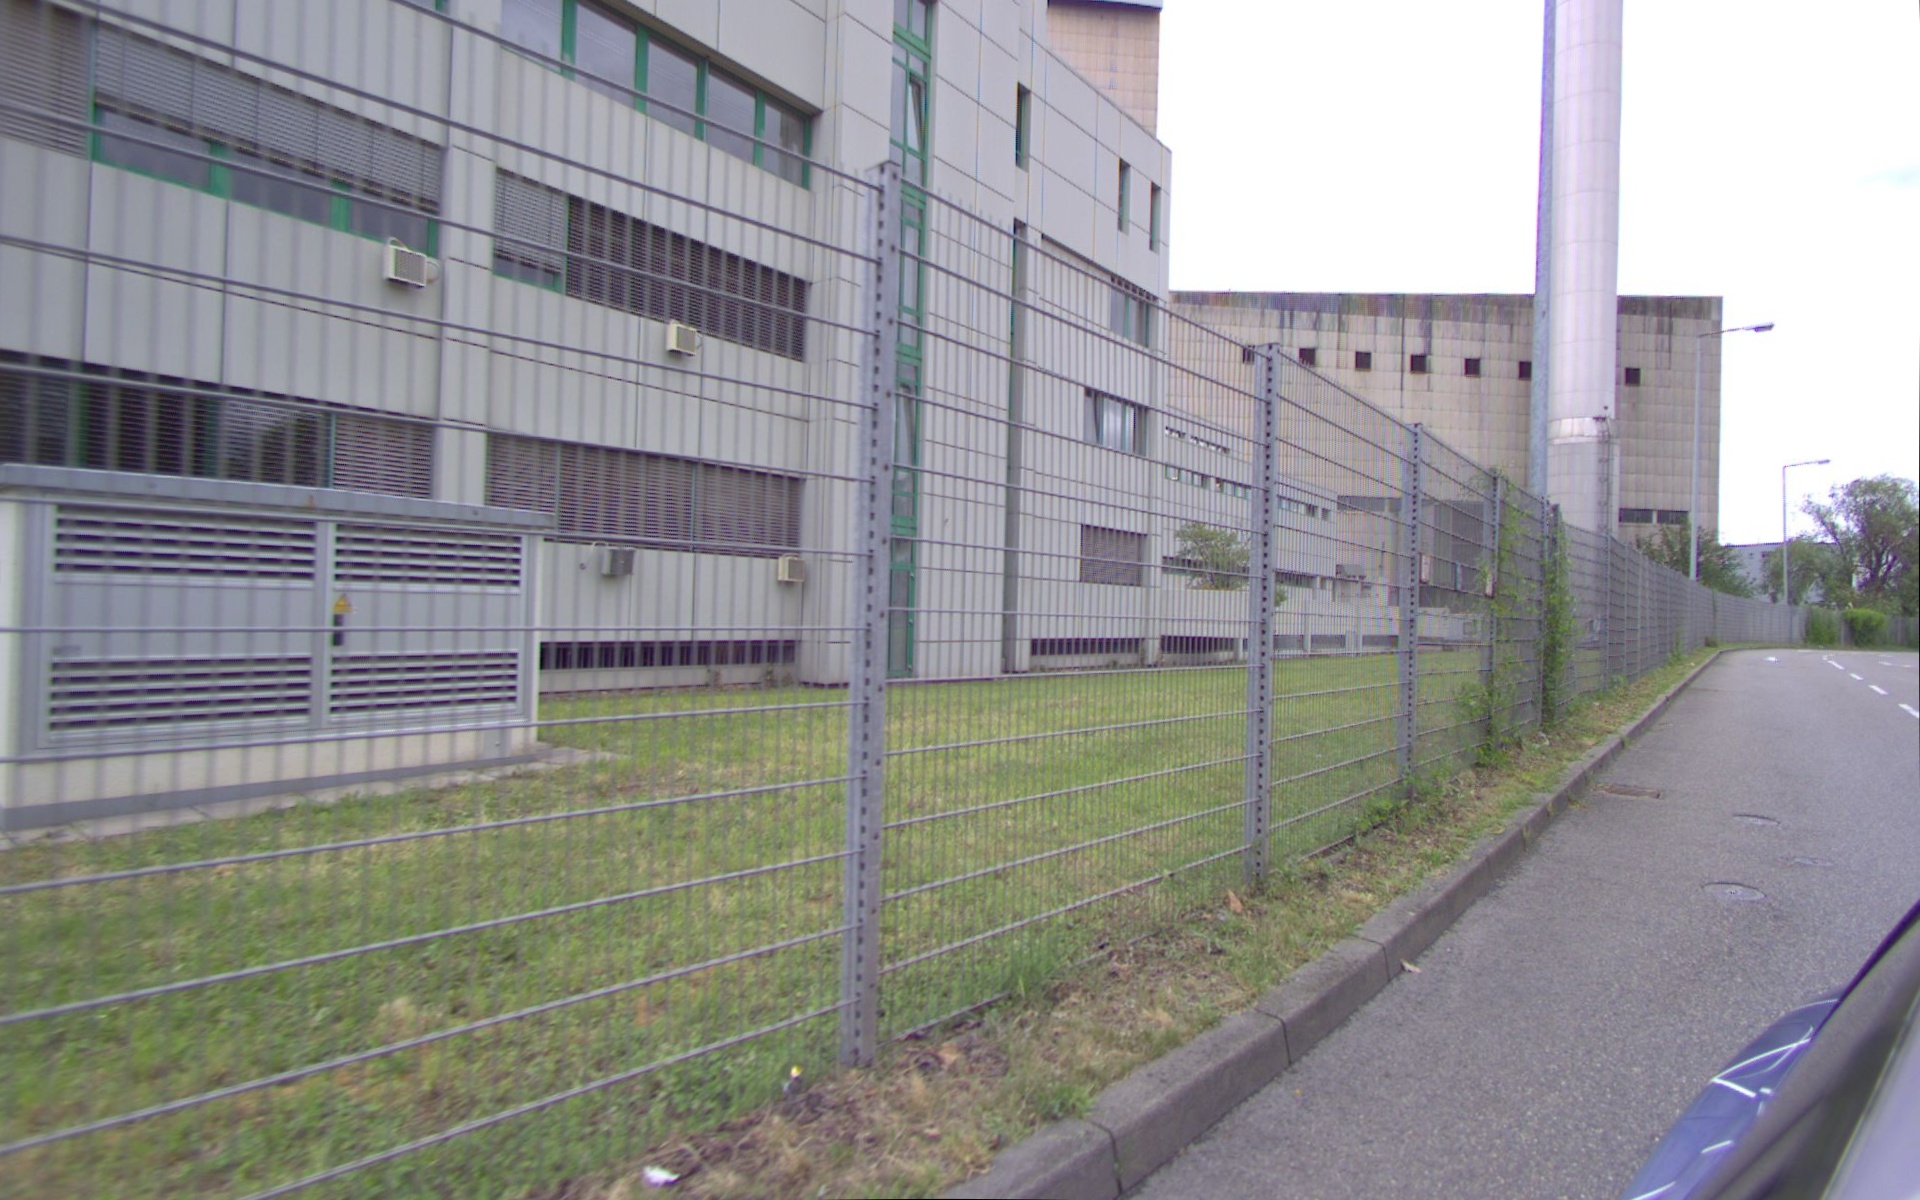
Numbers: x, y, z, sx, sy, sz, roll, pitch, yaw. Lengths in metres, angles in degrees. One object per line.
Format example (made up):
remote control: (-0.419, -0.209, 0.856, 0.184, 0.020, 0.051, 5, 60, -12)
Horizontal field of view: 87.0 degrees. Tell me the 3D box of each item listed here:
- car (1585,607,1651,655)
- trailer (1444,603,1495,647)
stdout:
car: (41.591, 2.014, 64.132, 2.399, 2.799, 5.411, 0, -4, 22)
trailer: (31.420, 1.574, 62.590, 2.636, 2.576, 6.376, 0, -2, 25)
